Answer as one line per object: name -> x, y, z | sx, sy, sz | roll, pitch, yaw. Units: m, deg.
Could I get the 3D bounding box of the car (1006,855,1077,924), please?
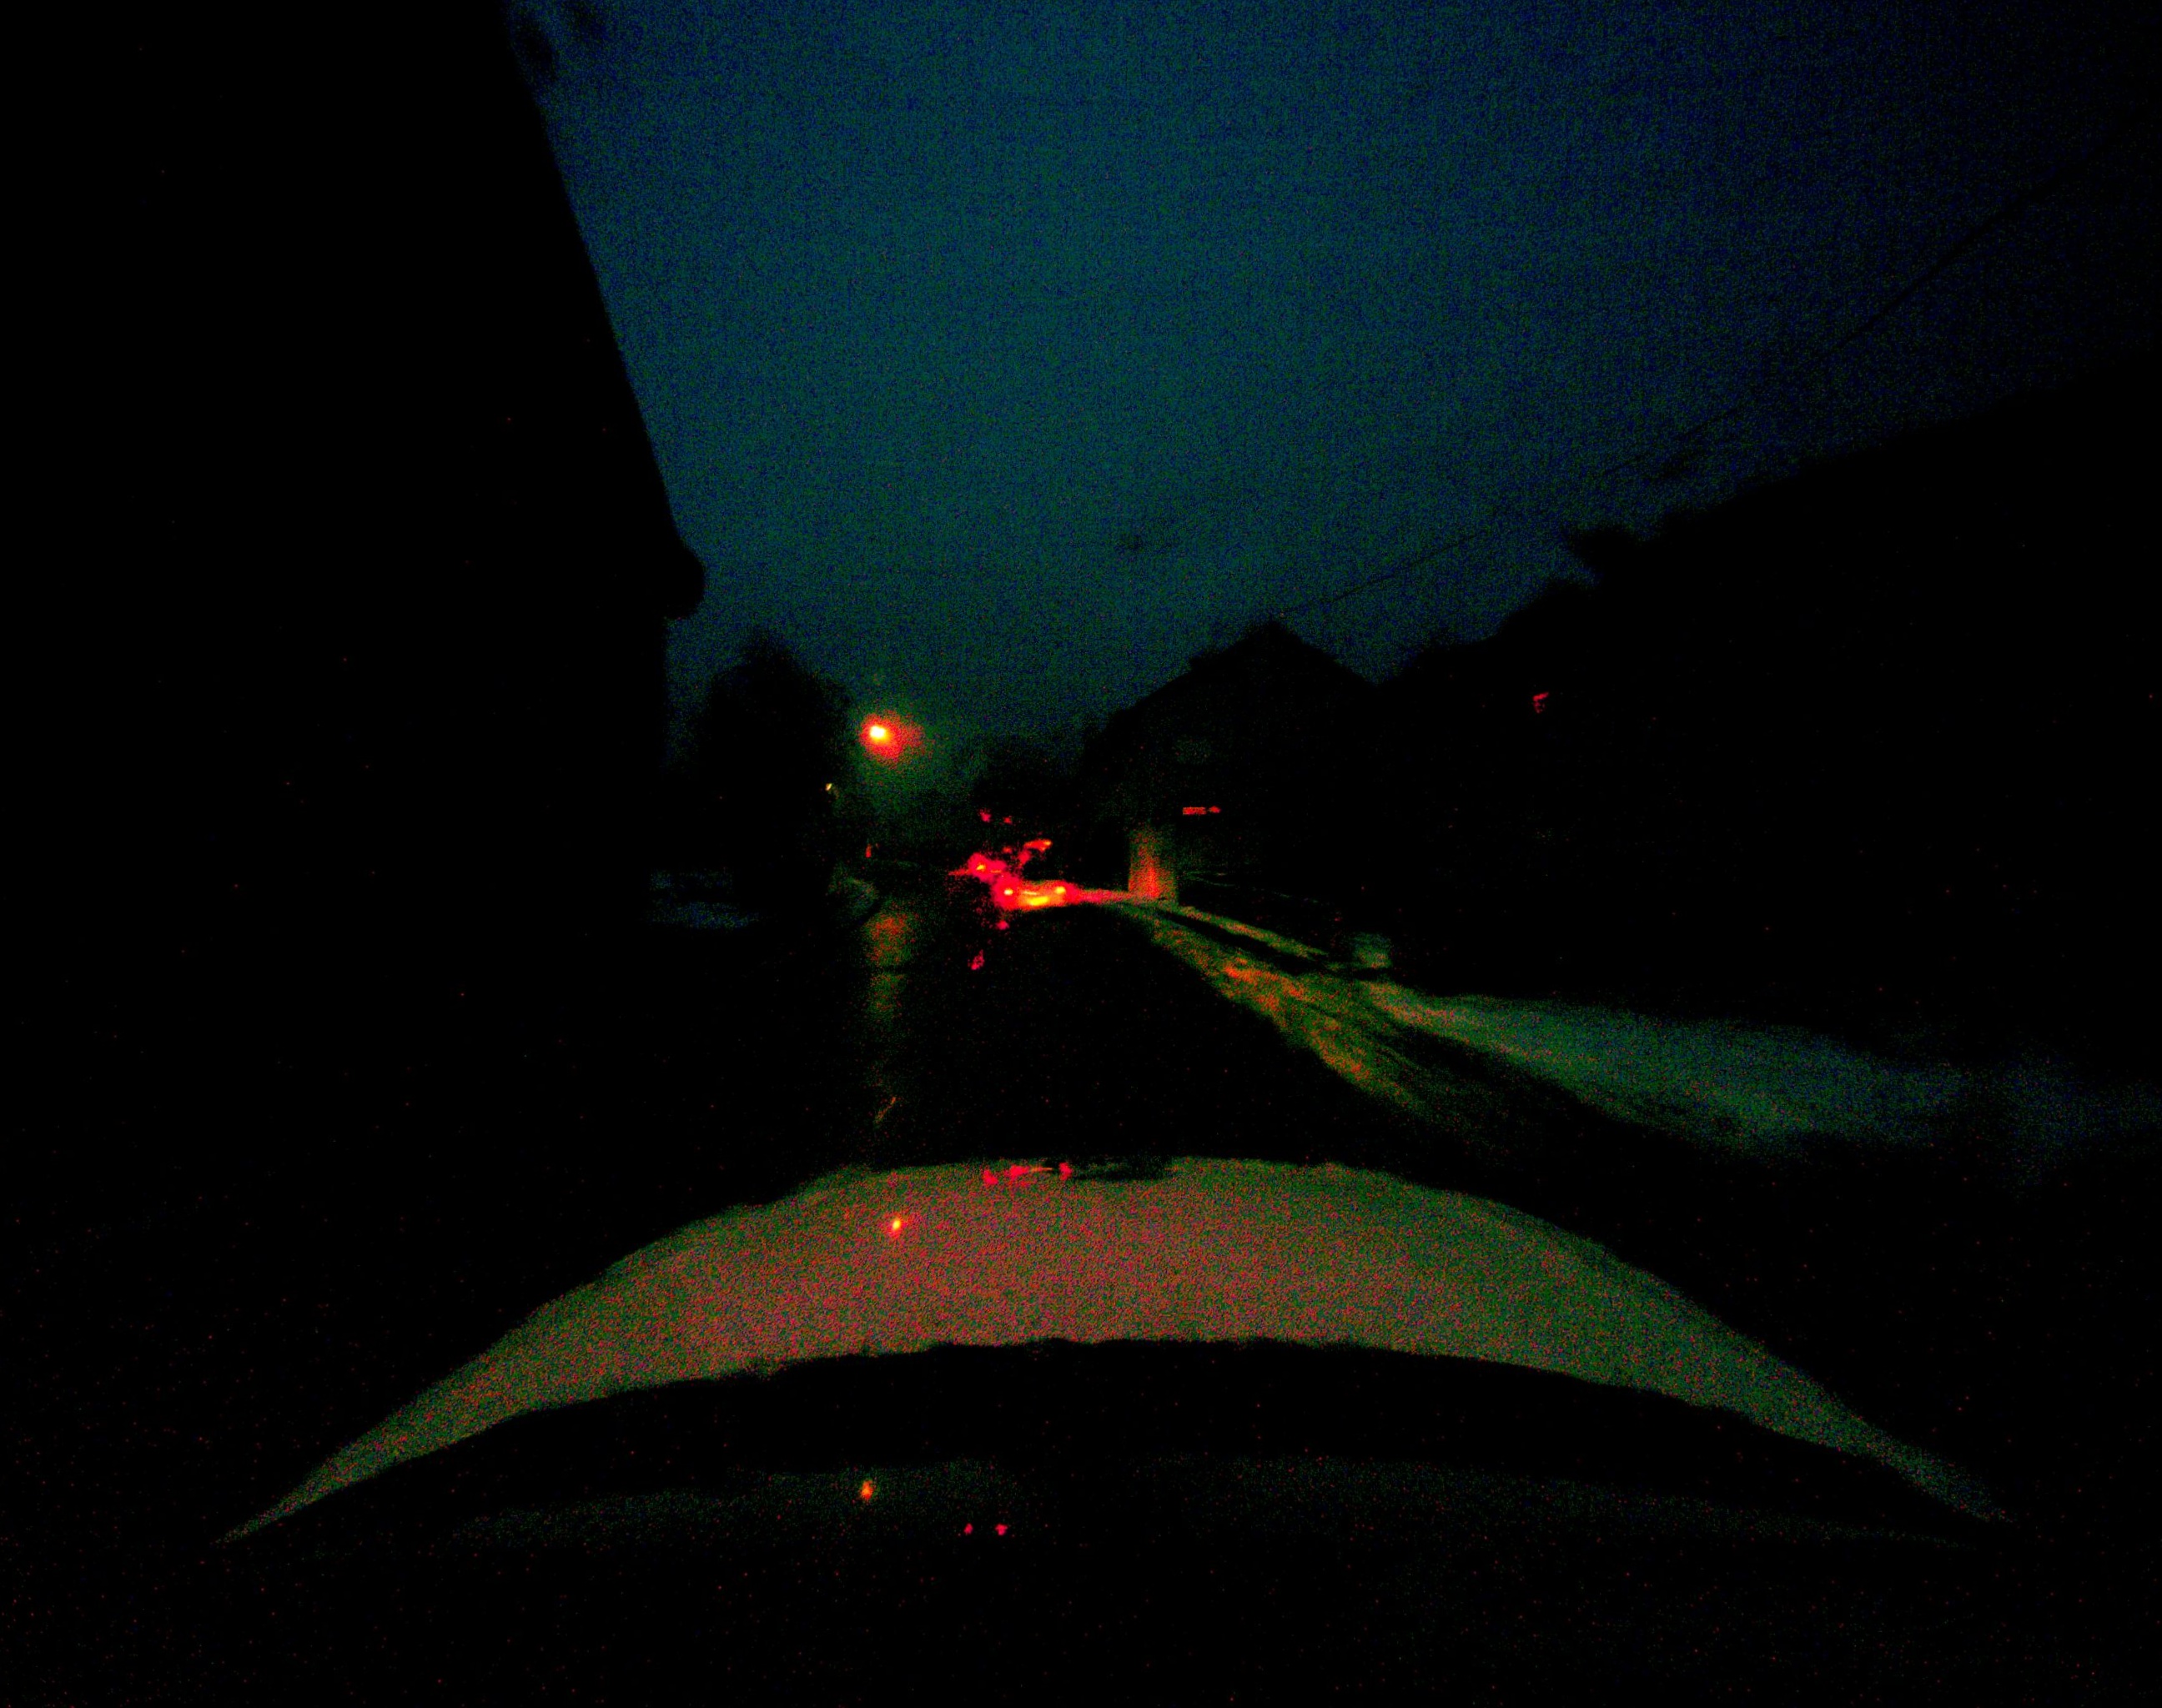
car -> -1.081, 0.892, 20.965 | 1.642, 1.596, 3.692 | 1, -2, -5

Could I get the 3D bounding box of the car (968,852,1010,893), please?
car -> -3.934, 0.795, 34.461 | 1.644, 1.596, 3.688 | 1, -2, -8
